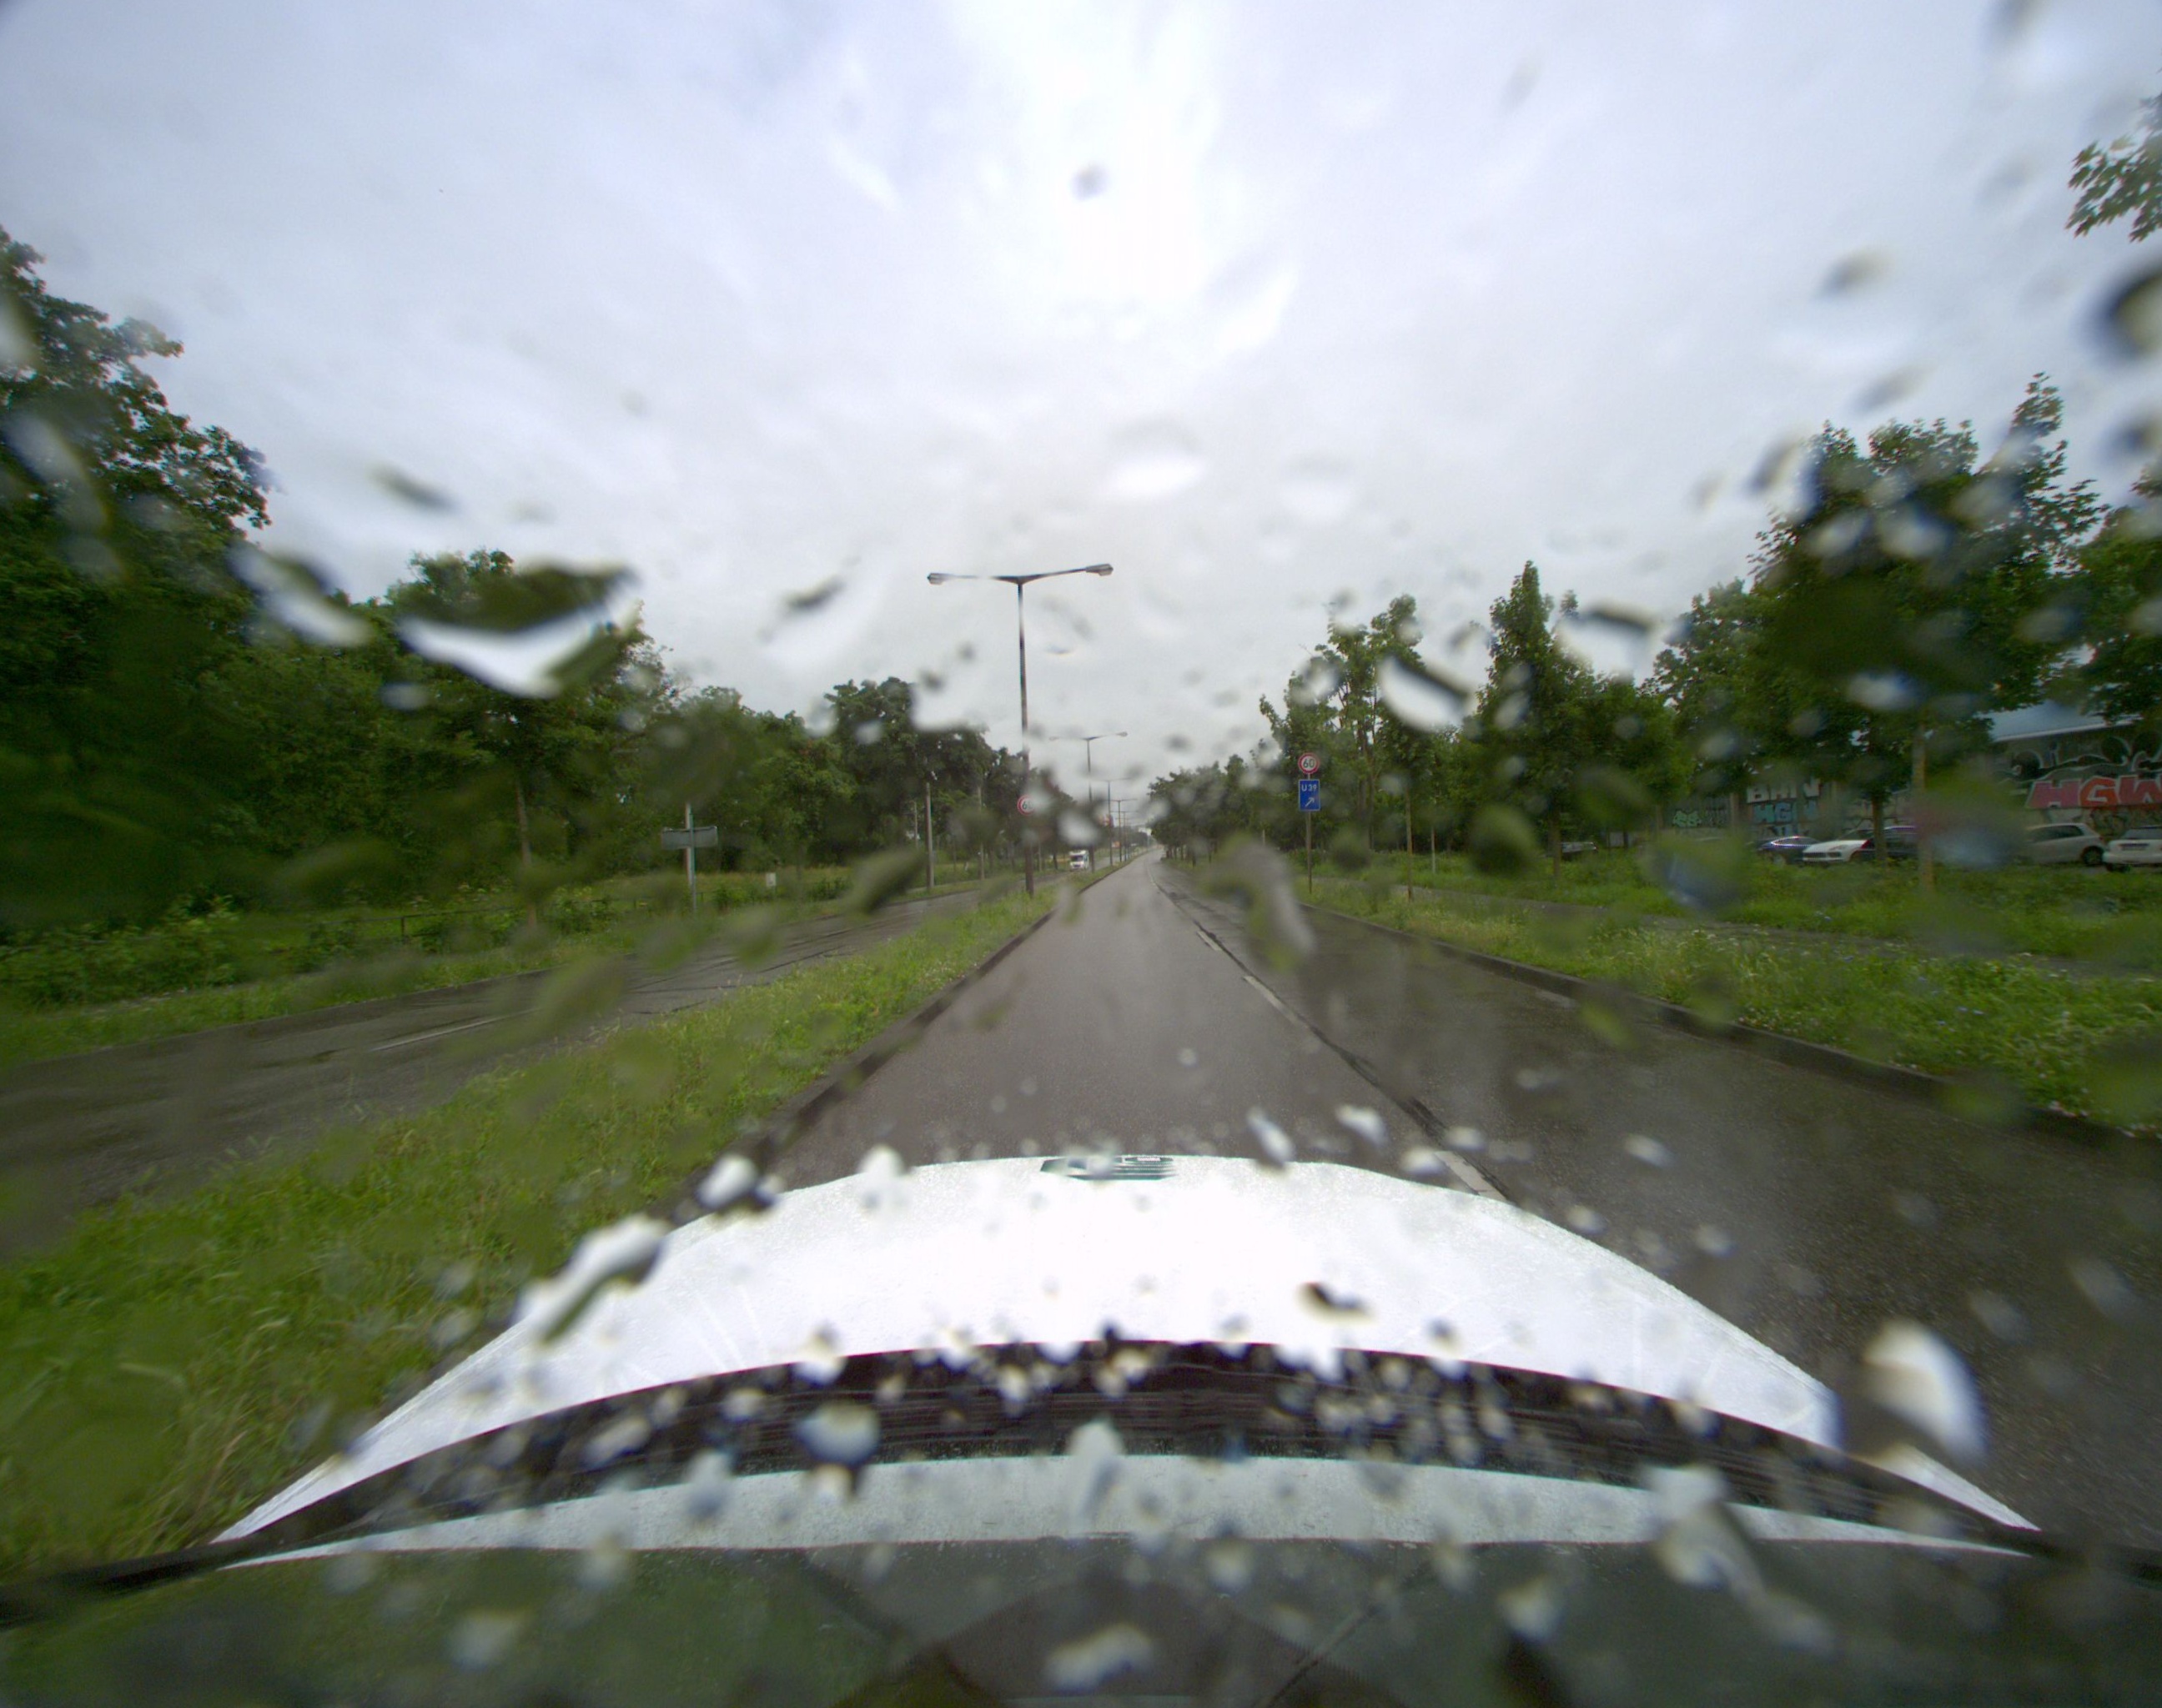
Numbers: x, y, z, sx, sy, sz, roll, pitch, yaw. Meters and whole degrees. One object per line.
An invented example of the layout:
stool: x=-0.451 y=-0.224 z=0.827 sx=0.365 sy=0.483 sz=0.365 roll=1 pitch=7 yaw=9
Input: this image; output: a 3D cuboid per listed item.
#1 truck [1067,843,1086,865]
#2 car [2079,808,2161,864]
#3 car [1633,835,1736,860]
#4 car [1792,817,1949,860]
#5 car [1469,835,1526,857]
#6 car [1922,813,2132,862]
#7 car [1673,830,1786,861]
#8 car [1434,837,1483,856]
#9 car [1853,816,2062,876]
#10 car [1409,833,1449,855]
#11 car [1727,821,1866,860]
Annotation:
truck: x=-0.612 y=0.032 z=110.303 sx=2.129 sy=2.843 sz=5.077 roll=-4 pitch=-1 yaw=3
car: x=31.894 y=-0.501 z=23.285 sx=4.319 sy=1.557 sz=1.945 roll=0 pitch=-1 yaw=0
car: x=33.519 y=-0.360 z=45.298 sx=4.386 sy=1.334 sz=1.837 roll=0 pitch=-1 yaw=-2
car: x=32.428 y=-0.612 z=33.553 sx=4.555 sy=1.705 sz=2.000 roll=0 pitch=-1 yaw=0
car: x=35.774 y=-0.693 z=69.968 sx=3.937 sy=1.820 sz=1.899 roll=0 pitch=-1 yaw=4
car: x=32.040 y=-0.540 z=27.709 sx=4.545 sy=1.557 sz=1.949 roll=0 pitch=-1 yaw=7
car: x=34.034 y=-0.420 z=42.813 sx=4.557 sy=1.547 sz=1.862 roll=0 pitch=-1 yaw=-2
car: x=36.916 y=-0.737 z=79.736 sx=3.937 sy=1.820 sz=1.899 roll=0 pitch=-1 yaw=4
car: x=24.393 y=-0.272 z=22.923 sx=1.735 sy=1.445 sz=4.130 roll=-3 pitch=1 yaw=6
car: x=38.308 y=-1.071 z=89.751 sx=3.704 sy=2.324 sz=1.590 roll=0 pitch=-1 yaw=4
car: x=32.194 y=-0.589 z=36.733 sx=4.557 sy=1.645 sz=1.999 roll=0 pitch=-1 yaw=-2
